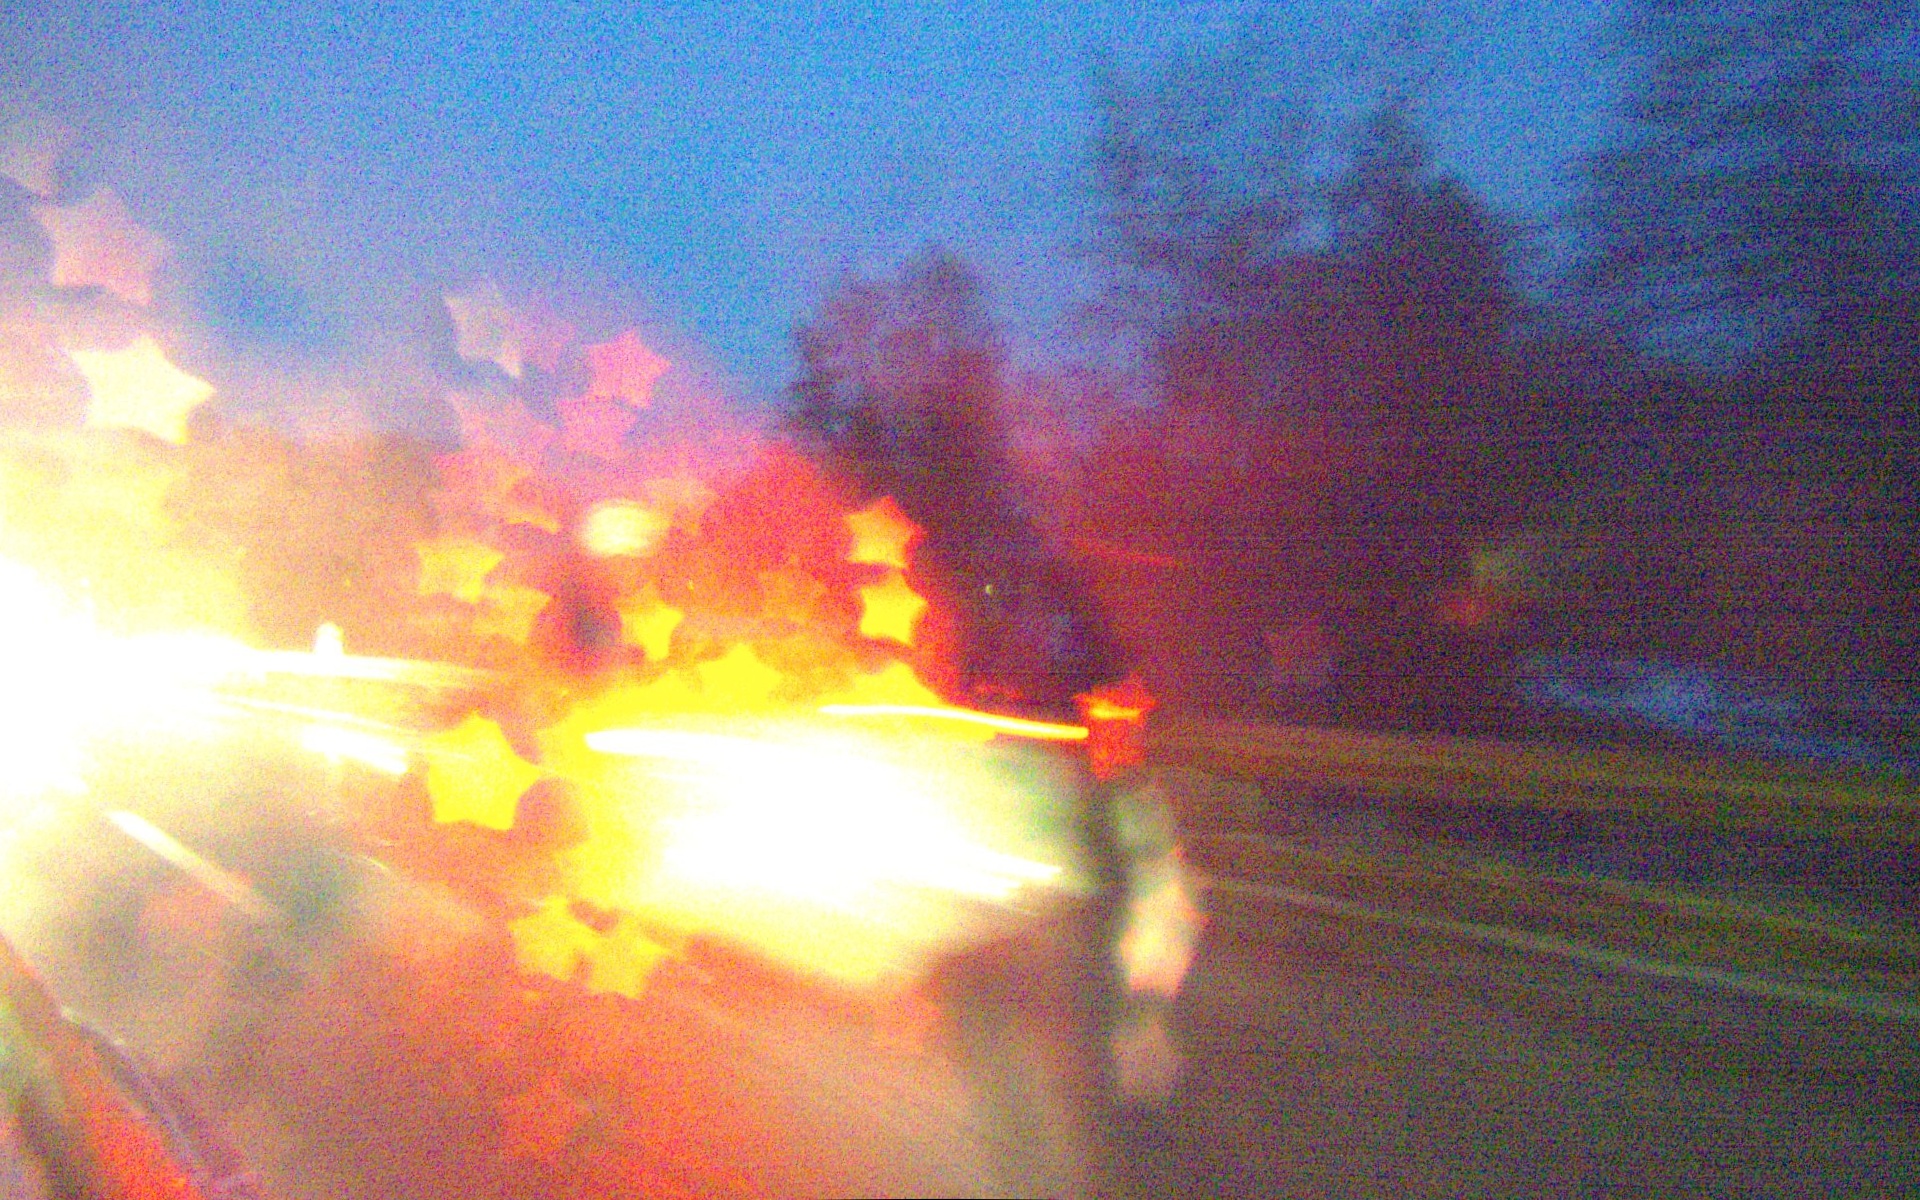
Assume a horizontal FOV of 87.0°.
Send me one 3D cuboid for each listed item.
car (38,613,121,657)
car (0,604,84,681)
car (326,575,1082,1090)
[{"bbox_3d":[-33.970,1.318,39.003,4.439,1.566,1.811,-1,0,41],"label":"car"},{"bbox_3d":[-21.584,0.905,23.082,4.439,1.566,1.811,0,2,41],"label":"car"},{"bbox_3d":[-1.532,0.730,5.053,3.998,1.566,1.698,-1,-1,41],"label":"car"}]
